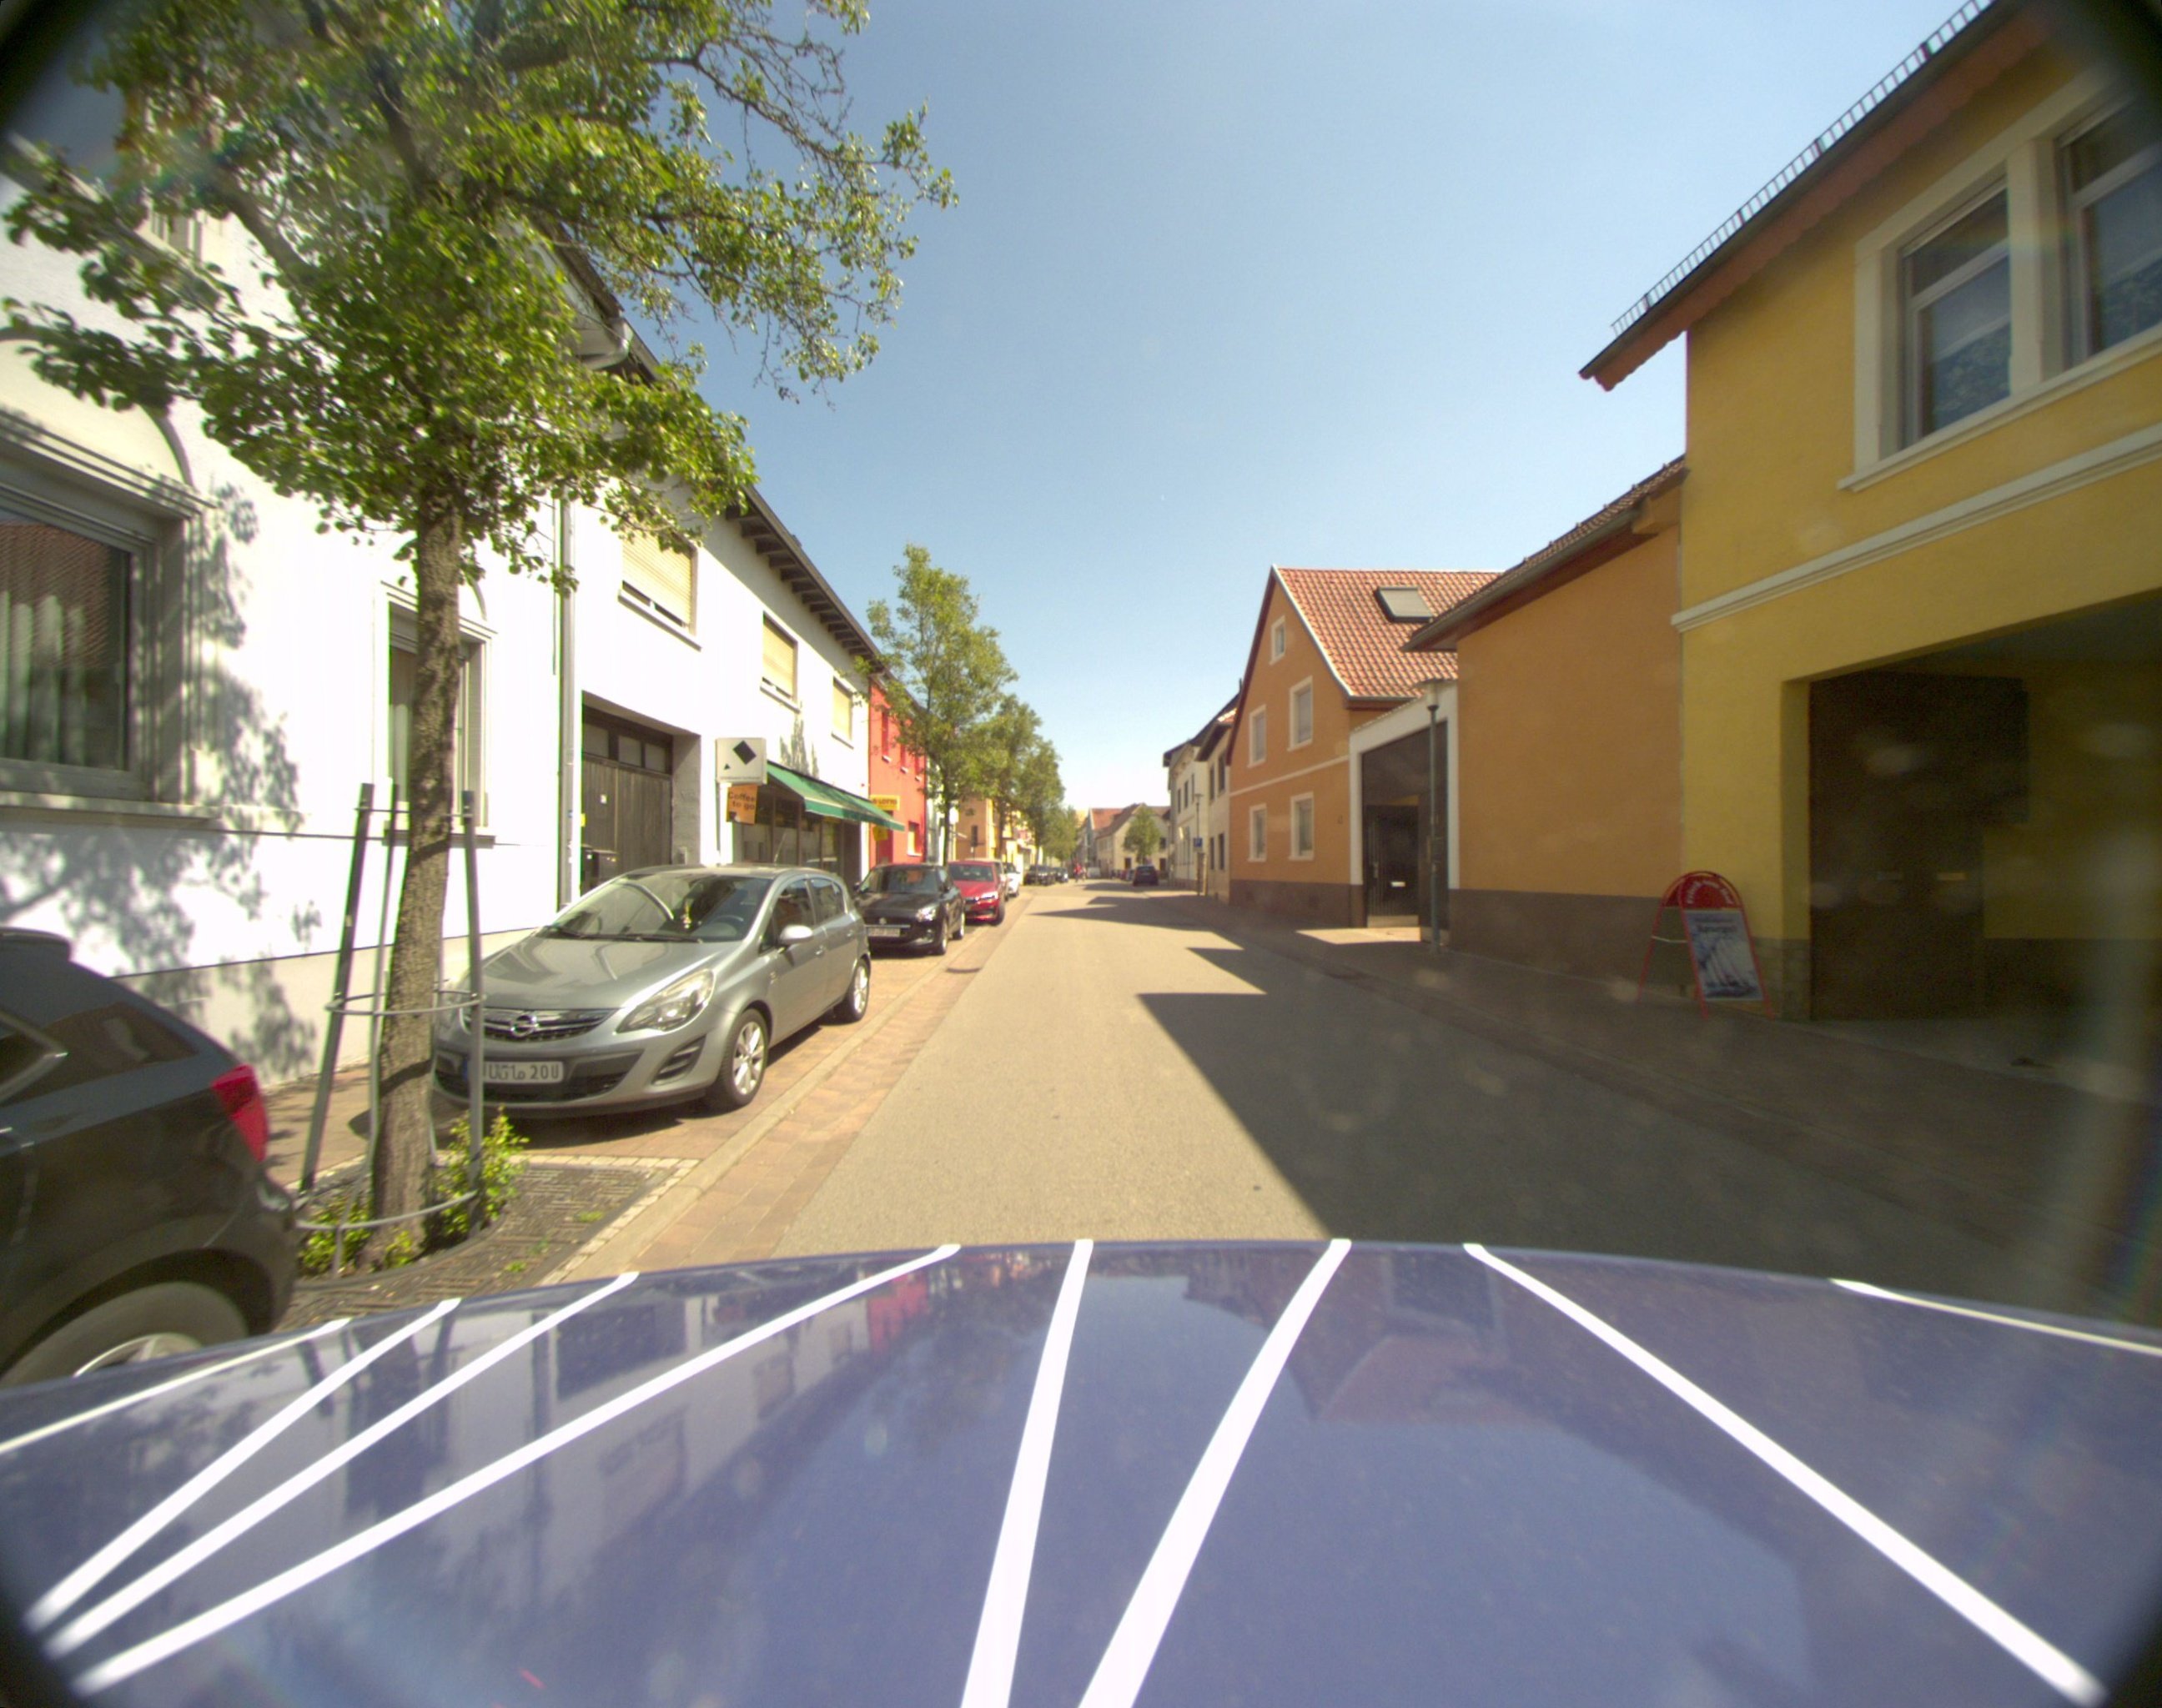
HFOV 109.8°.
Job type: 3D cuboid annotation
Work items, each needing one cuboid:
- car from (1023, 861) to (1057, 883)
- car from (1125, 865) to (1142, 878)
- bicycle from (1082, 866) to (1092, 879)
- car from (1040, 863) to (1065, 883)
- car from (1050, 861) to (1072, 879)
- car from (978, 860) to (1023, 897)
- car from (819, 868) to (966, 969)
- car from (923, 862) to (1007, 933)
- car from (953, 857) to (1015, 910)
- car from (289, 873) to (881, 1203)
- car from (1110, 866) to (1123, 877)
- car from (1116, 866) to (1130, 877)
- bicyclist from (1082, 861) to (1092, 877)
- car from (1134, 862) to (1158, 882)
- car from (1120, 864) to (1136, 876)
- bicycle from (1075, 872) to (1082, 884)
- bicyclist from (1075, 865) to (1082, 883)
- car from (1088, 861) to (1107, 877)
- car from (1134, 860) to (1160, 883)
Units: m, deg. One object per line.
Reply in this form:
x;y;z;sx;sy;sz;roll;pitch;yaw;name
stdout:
-3.078;1.348;57.680;1.928;1.594;4.111;0;-1;6;car
6.100;1.979;88.199;1.571;1.452;3.801;0;-1;-2;car
0.649;2.002;82.734;0.960;1.362;2.406;0;0;2;bicycle
-2.654;1.751;70.731;1.998;1.759;4.109;0;-1;2;car
-2.043;1.660;79.524;1.998;1.759;4.109;0;-1;2;car
-3.587;1.080;34.304;1.715;1.534;3.997;0;-1;-2;car
-3.115;1.003;13.286;1.741;1.504;3.735;1;-1;-2;car
-2.877;1.034;19.617;1.834;1.579;4.086;-1;0;-4;car
-3.489;1.012;28.186;1.872;1.674;4.660;-2;0;-3;car
-2.895;0.930;5.661;1.722;1.472;4.095;1;0;0;car
5.121;2.516;110.034;1.572;1.452;3.800;0;-1;-3;car
5.653;2.304;102.724;1.572;1.452;3.800;0;-1;-3;car
0.648;1.635;82.650;1.028;1.635;1.025;0;0;2;bicyclist
5.322;1.470;62.549;1.916;1.605;3.987;0;-1;4;car
5.854;2.030;94.681;1.572;1.452;3.800;0;-1;-3;car
-0.254;2.352;74.378;0.635;1.227;1.894;2;-2;1;bicycle
-0.240;1.945;74.340;0.645;1.766;0.722;2;-2;1;bicyclist
2.529;2.369;120.590;2.443;2.223;4.959;-3;-1;-4;car
5.005;1.374;57.719;1.863;1.619;4.050;-1;-2;5;car
